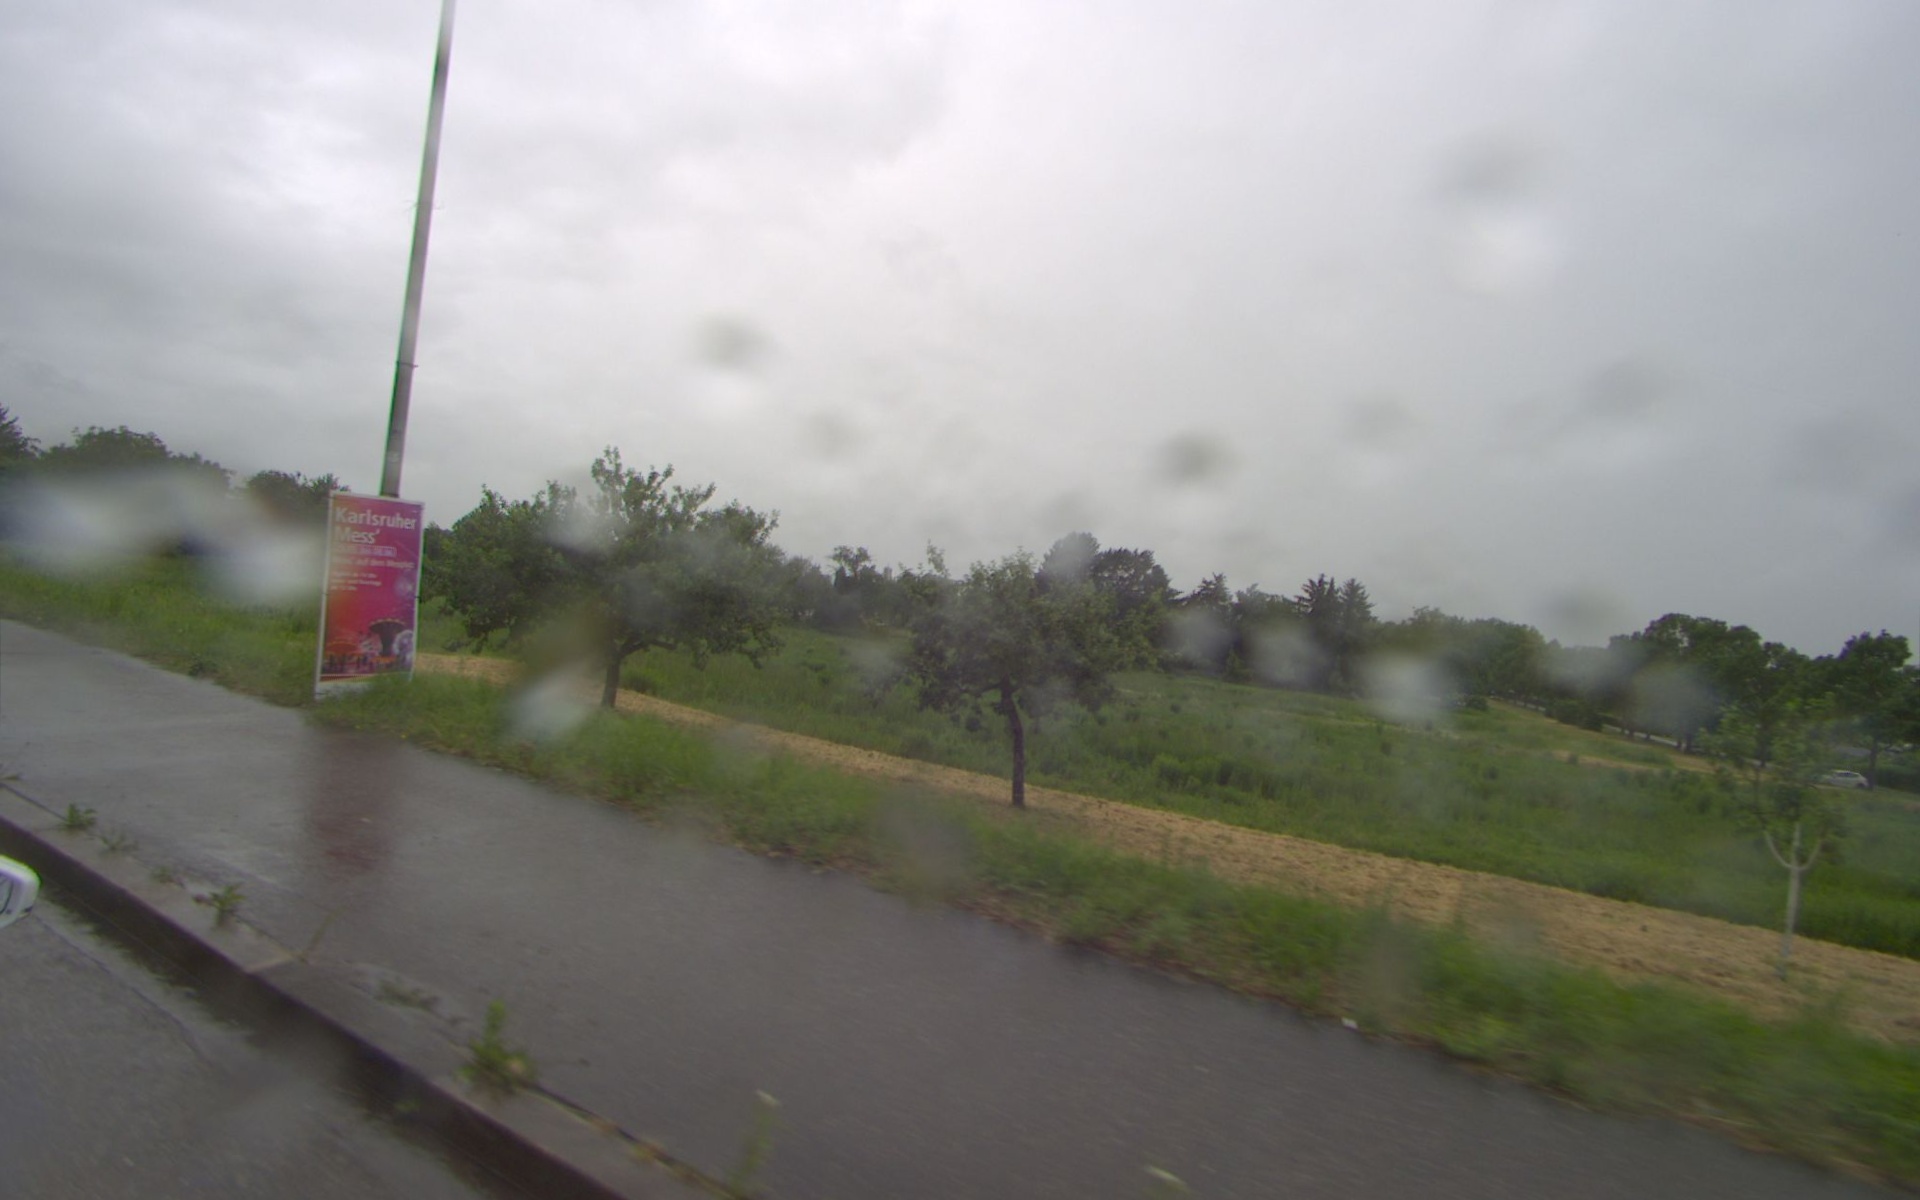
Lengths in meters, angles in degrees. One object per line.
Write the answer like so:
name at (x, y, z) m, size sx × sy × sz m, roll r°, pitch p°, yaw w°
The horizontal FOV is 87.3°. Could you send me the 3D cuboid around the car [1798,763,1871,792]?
car at (72.416, 14.674, 83.322) m, size 4.085 × 1.527 × 1.803 m, roll 7°, pitch -2°, yaw 13°
